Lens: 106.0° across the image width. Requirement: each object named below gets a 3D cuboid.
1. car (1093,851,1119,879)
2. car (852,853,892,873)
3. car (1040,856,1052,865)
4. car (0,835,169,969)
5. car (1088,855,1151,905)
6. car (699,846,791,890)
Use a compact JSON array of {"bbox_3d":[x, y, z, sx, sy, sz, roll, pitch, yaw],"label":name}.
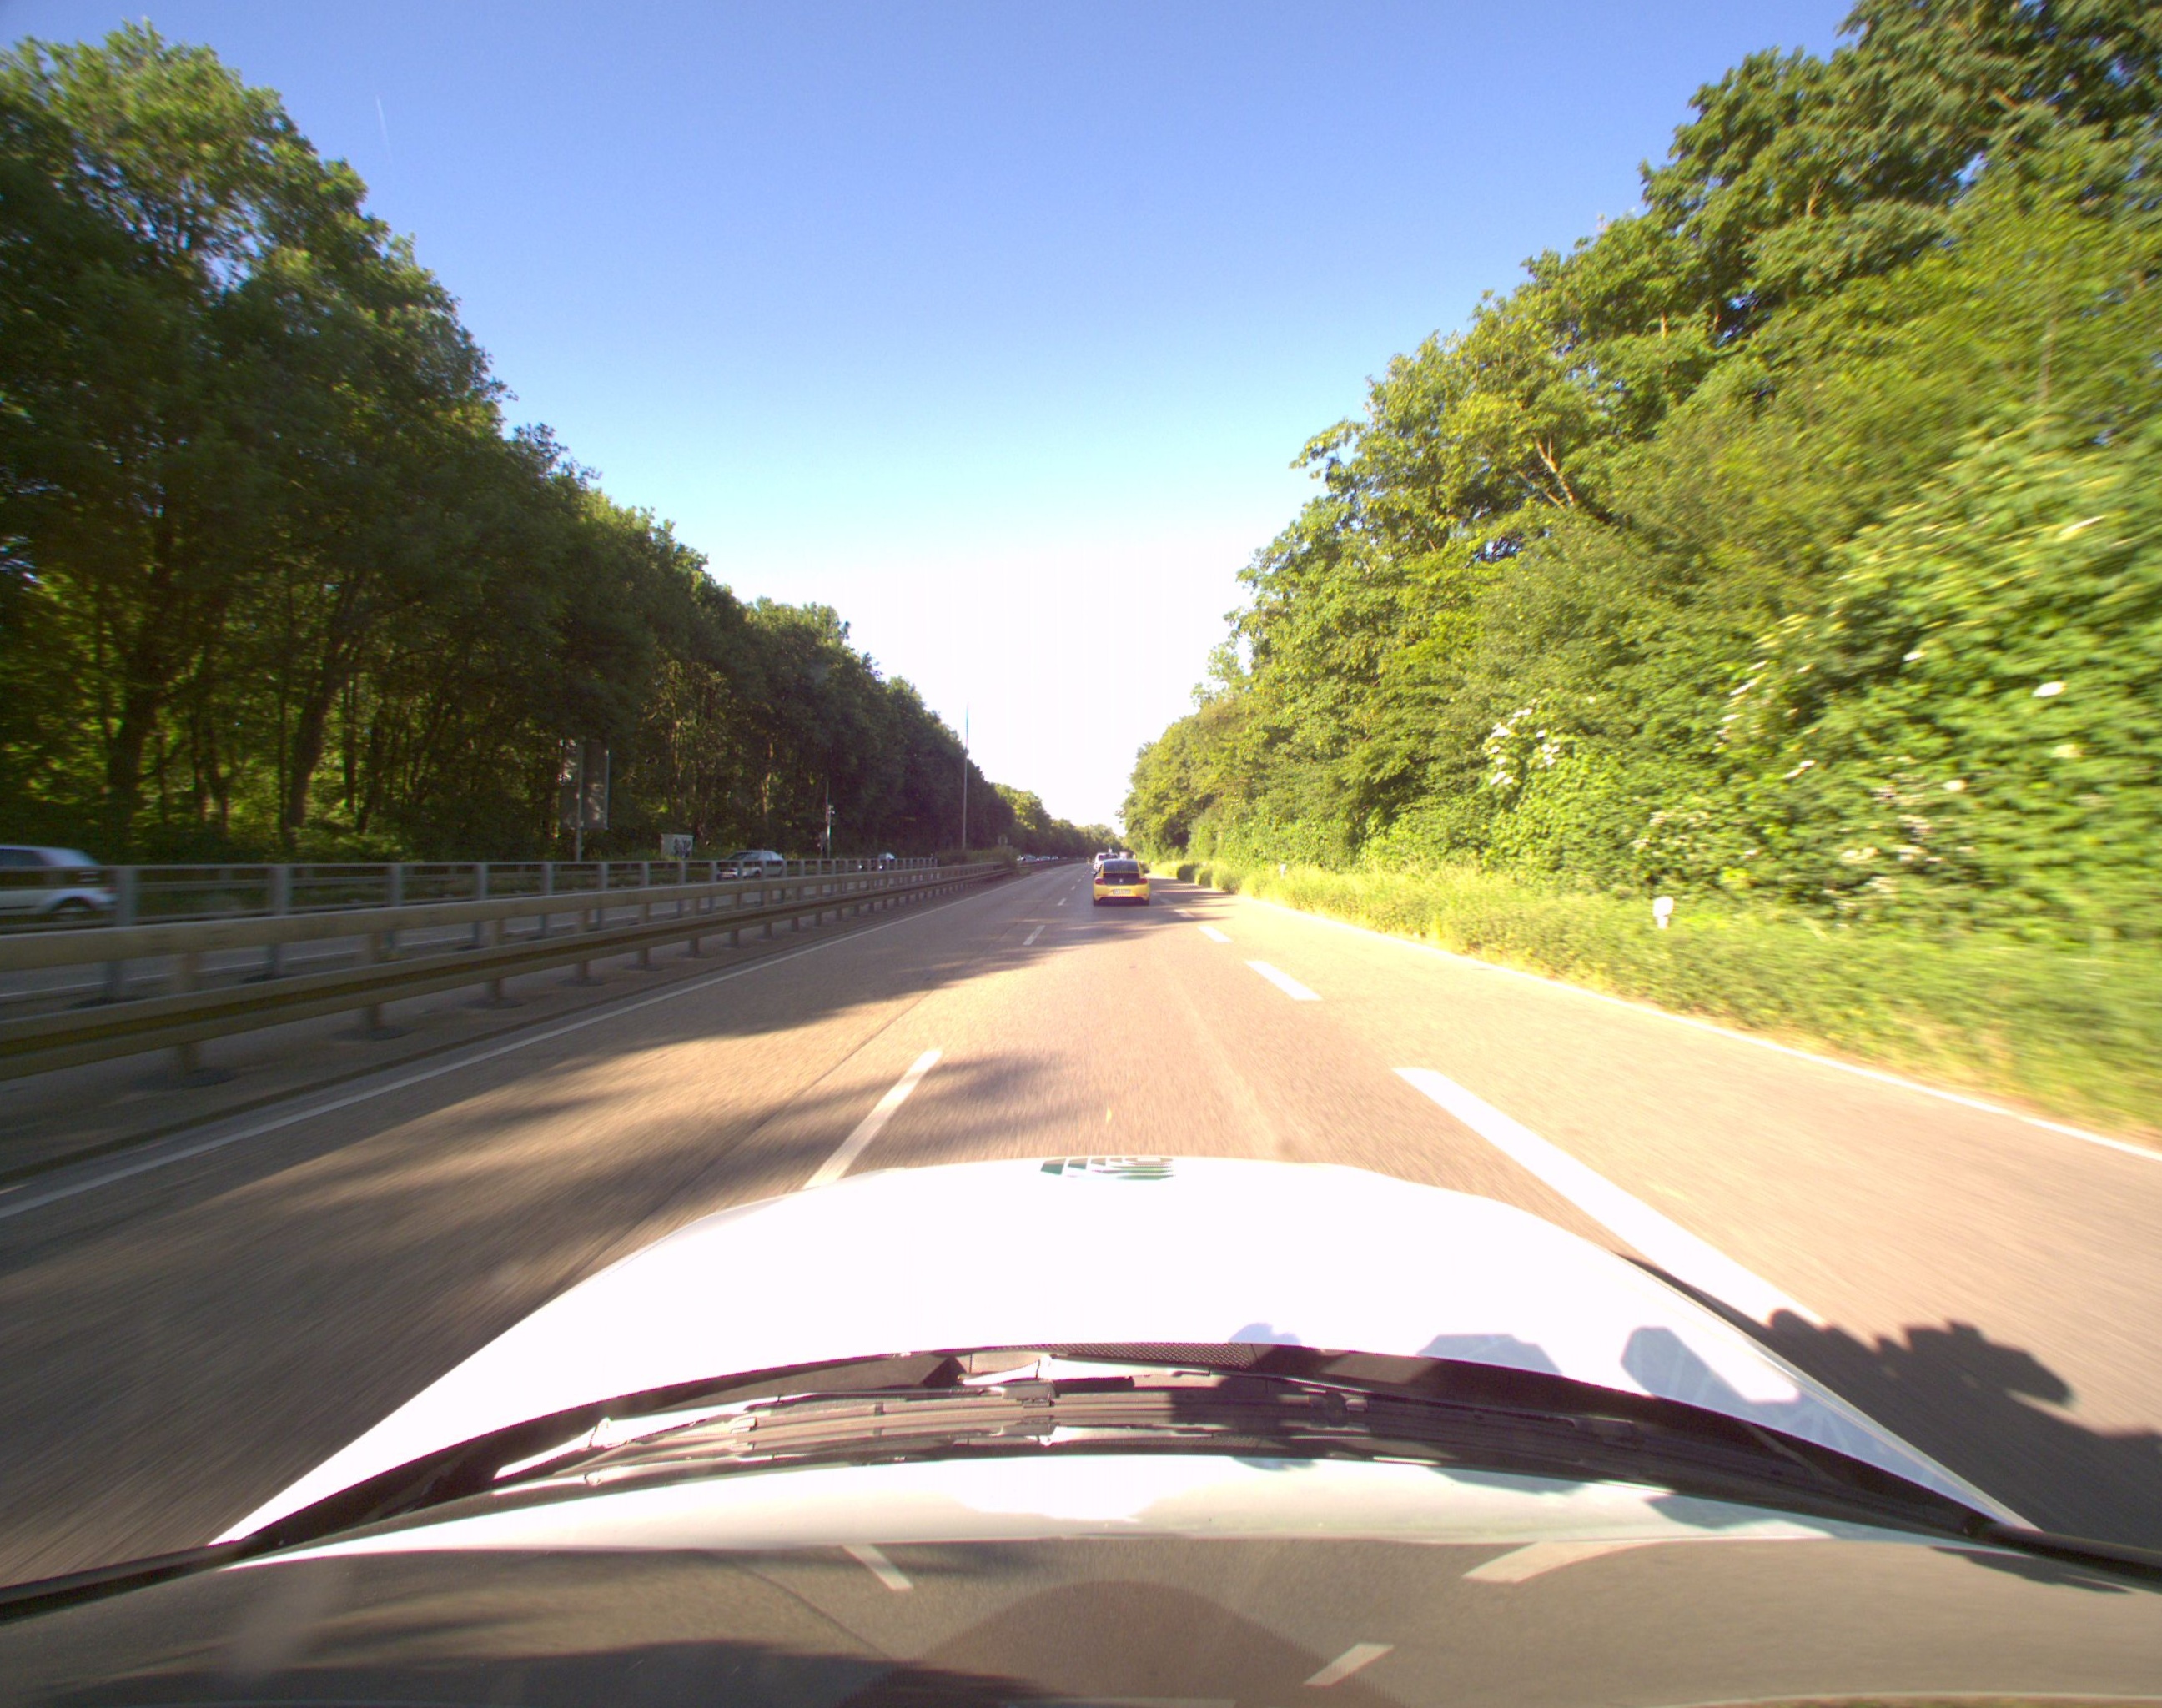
[{"bbox_3d":[1.692,0.709,55.227,1.735,1.830,3.424,0,0,2],"label":"car"},{"bbox_3d":[-15.748,0.652,61.518,1.724,1.489,4.455,1,0,1],"label":"car"},{"bbox_3d":[-6.669,1.245,155.307,1.986,1.560,4.708,0,-1,1],"label":"car"},{"bbox_3d":[-15.214,0.629,10.461,1.986,1.750,4.344,0,-1,2],"label":"car"},{"bbox_3d":[1.319,0.815,26.500,1.930,1.508,3.427,0,-1,5],"label":"car"},{"bbox_3d":[-14.122,0.575,34.522,1.986,1.750,4.374,0,-1,2],"label":"car"}]
